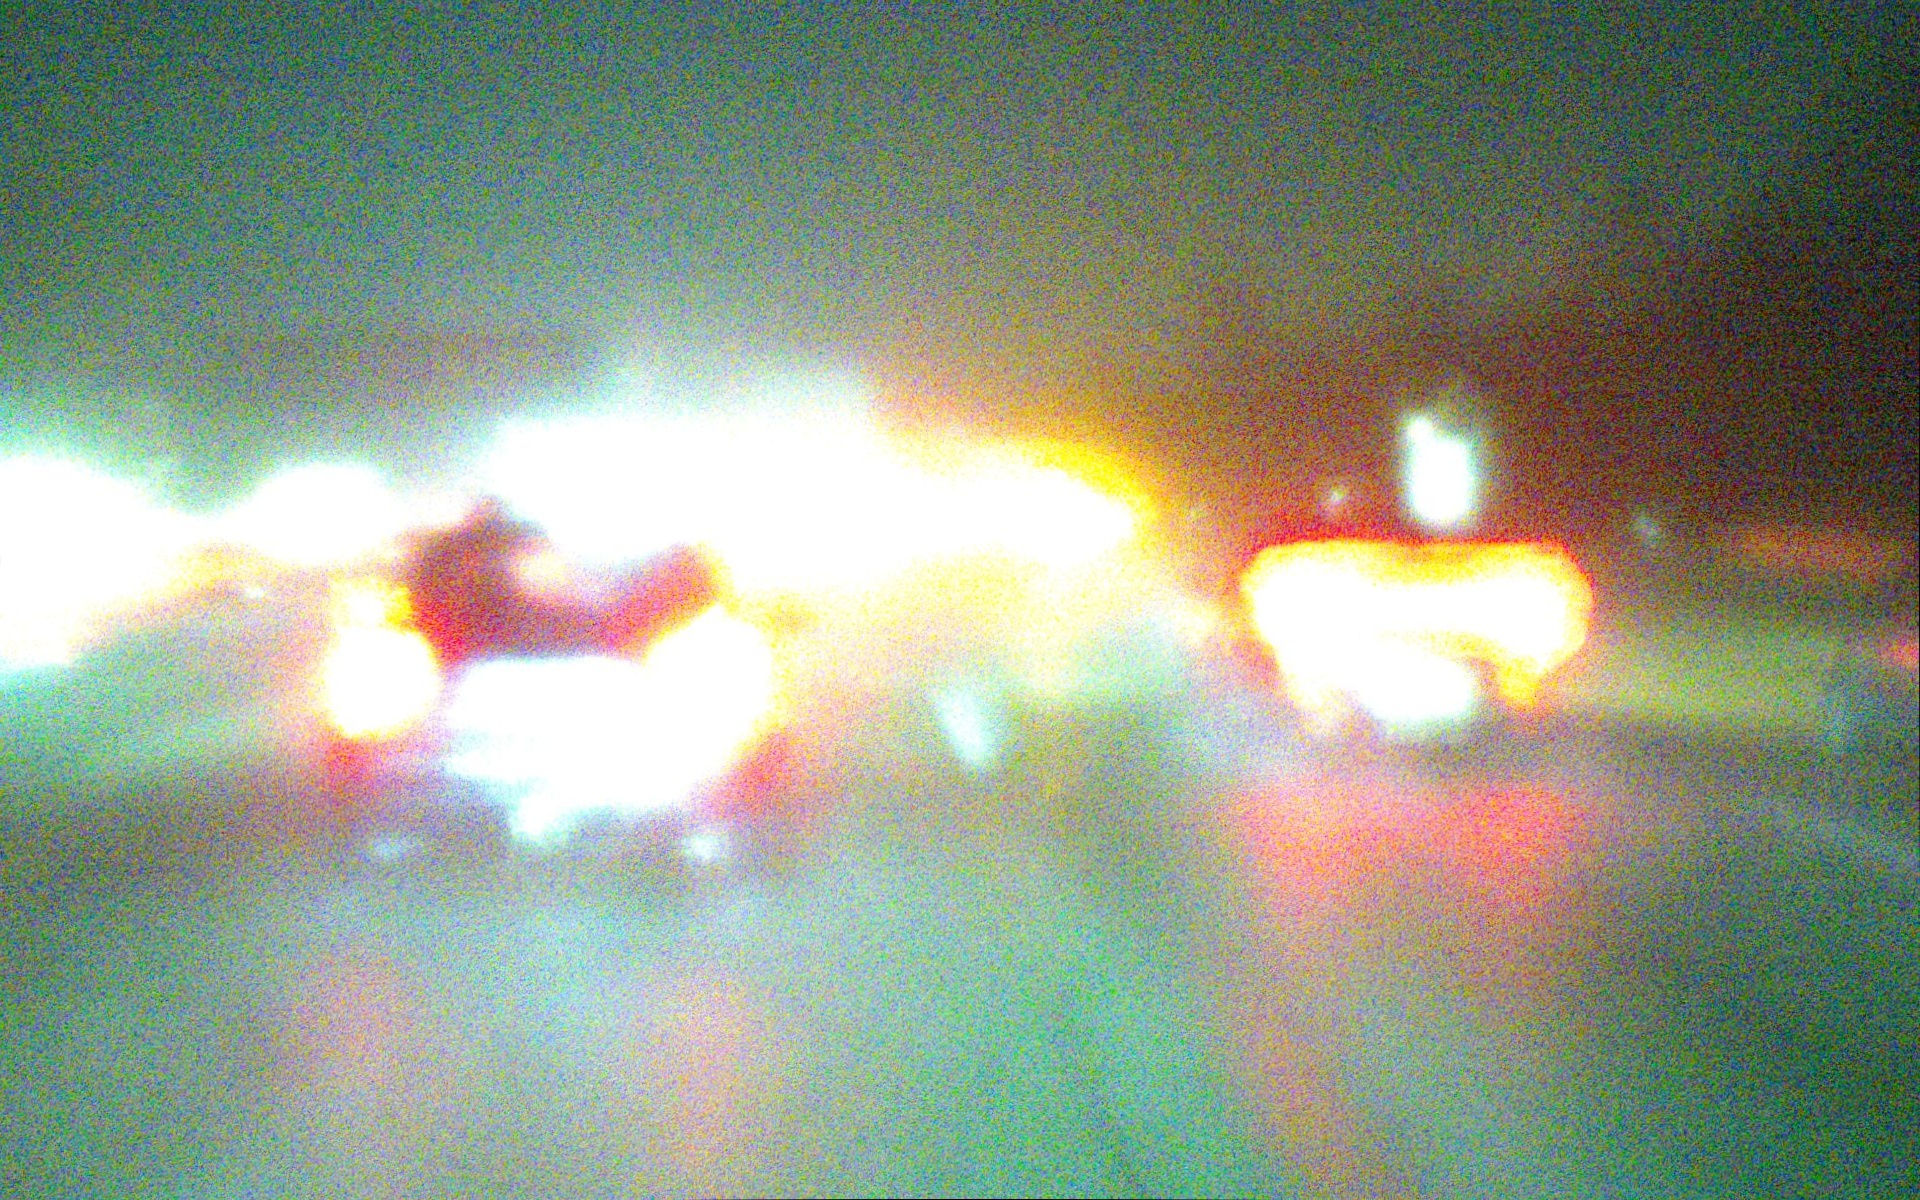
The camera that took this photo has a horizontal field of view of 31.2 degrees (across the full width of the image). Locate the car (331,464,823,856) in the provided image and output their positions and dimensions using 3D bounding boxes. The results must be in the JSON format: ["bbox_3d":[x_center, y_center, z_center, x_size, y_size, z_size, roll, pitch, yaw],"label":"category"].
[{"bbox_3d":[-1.536,0.153,15.067,1.801,1.482,4.001,0,2,-1],"label":"car"}]

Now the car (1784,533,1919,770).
[{"bbox_3d":[5.878,0.273,19.146,1.580,1.241,3.069,0,2,-5],"label":"car"}]

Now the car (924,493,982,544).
[{"bbox_3d":[-0.223,-2.717,114.069,1.863,1.612,4.000,1,2,0],"label":"car"}]

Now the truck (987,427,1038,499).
[{"bbox_3d":[2.307,-6.077,153.055,1.993,3.032,6.466,-3,1,0],"label":"truck"}]

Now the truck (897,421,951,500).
[{"bbox_3d":[-1.444,-5.610,139.298,1.993,3.032,6.466,-3,1,0],"label":"truck"}]

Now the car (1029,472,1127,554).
[{"bbox_3d":[2.401,-1.806,70.810,1.863,1.612,4.000,1,2,0],"label":"car"}]

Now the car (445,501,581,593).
[{"bbox_3d":[-6.560,-0.794,50.719,1.662,1.232,3.762,-3,1,-3],"label":"car"}]

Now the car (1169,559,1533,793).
[{"bbox_3d":[2.288,0.412,20.826,1.580,1.241,3.069,0,2,-5],"label":"car"}]

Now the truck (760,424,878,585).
[{"bbox_3d":[-2.812,-1.946,69.954,1.993,3.032,6.466,-3,1,0],"label":"truck"}]
